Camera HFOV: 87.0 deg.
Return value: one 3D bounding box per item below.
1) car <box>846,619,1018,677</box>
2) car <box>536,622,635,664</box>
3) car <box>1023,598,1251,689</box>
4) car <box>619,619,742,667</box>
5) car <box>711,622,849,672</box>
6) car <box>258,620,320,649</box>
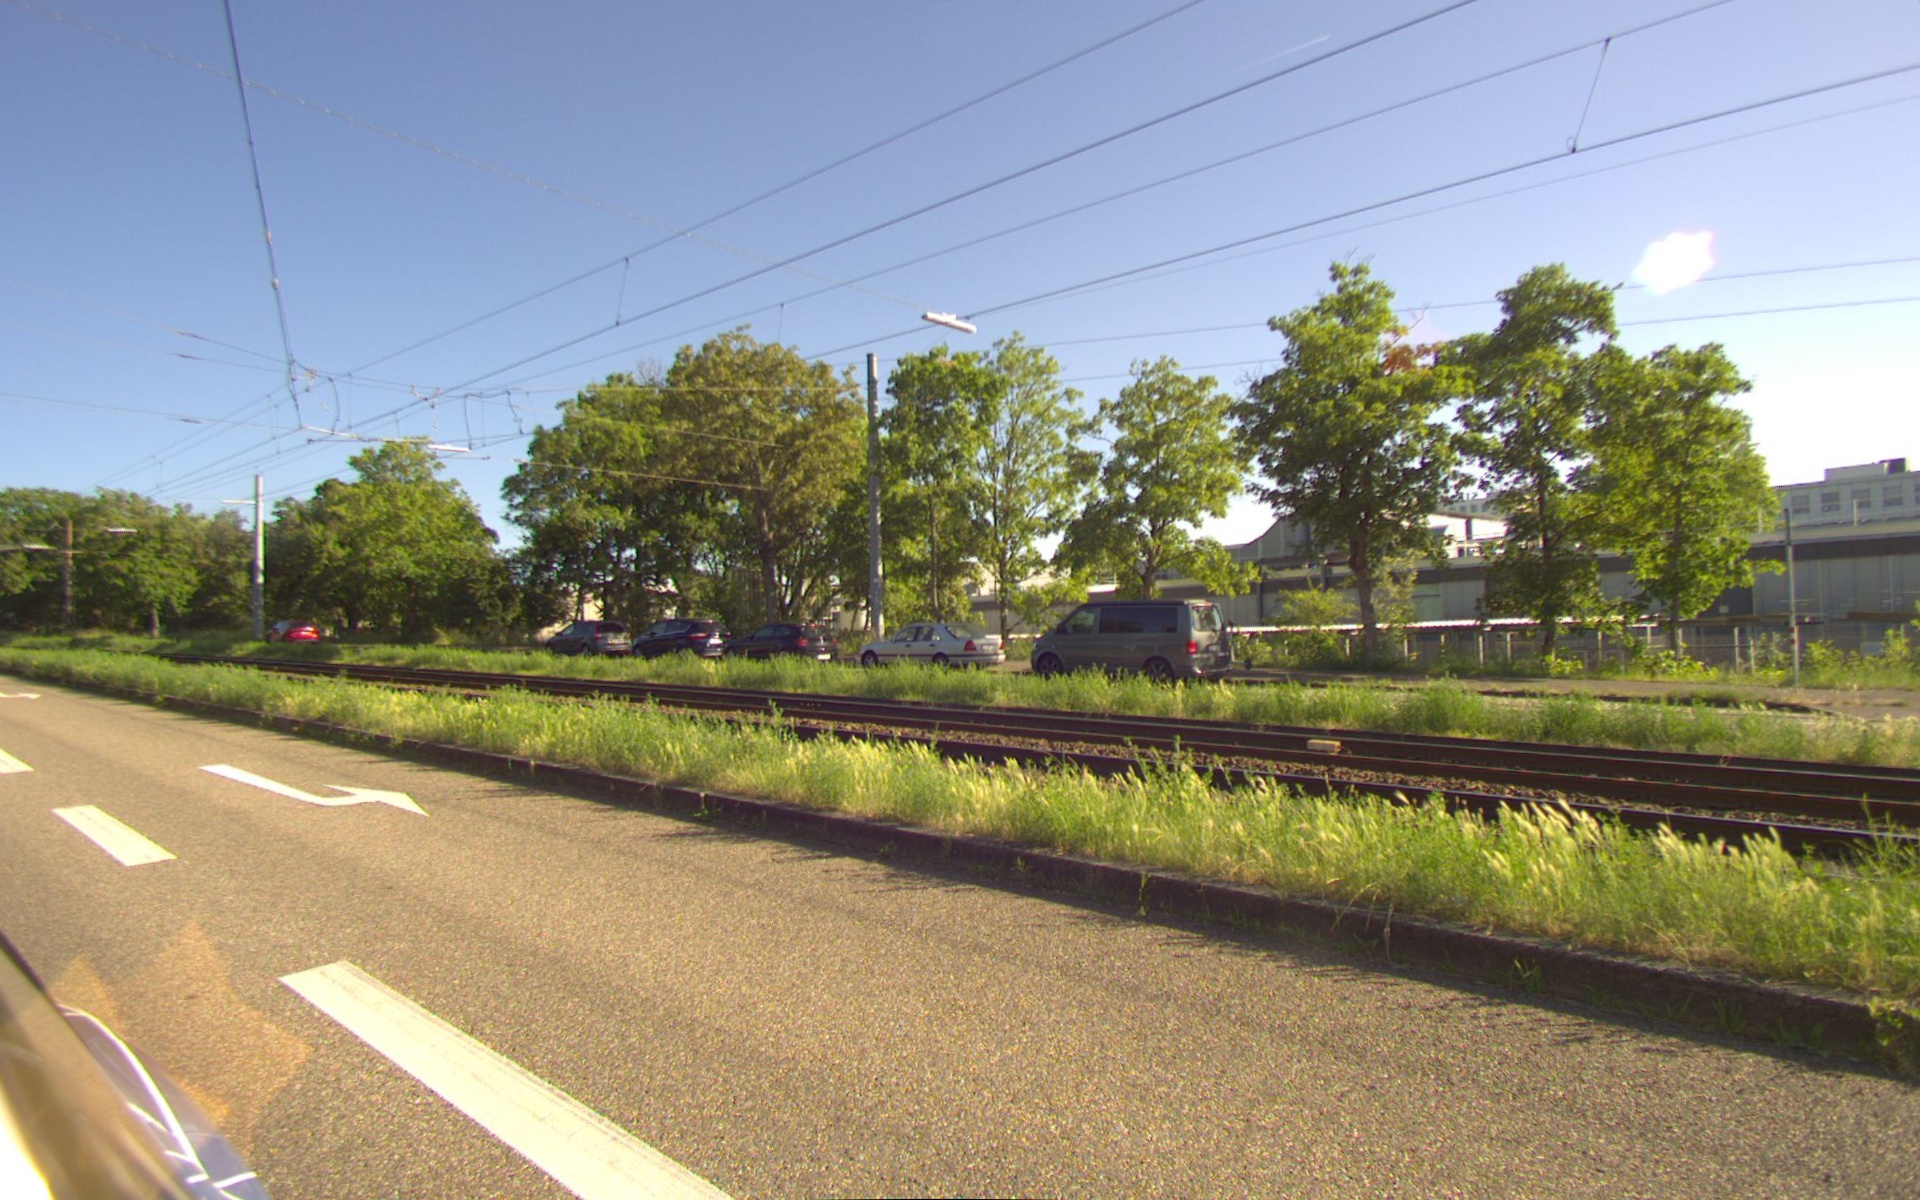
[{"bbox_3d":[-0.845,1.300,27.918,4.692,1.448,1.908,-2,-2,41],"label":"car"},{"bbox_3d":[-14.820,1.665,39.942,4.323,1.505,1.718,-1,0,39],"label":"car"},{"bbox_3d":[4.000,0.966,23.453,4.791,1.905,2.173,-2,-2,43],"label":"car"},{"bbox_3d":[-9.840,1.492,35.519,4.430,1.586,1.974,-2,-2,40],"label":"car"},{"bbox_3d":[-5.758,1.464,32.049,4.412,1.448,1.973,-2,-2,41],"label":"car"},{"bbox_3d":[-40.848,2.090,61.604,4.462,1.715,1.984,-2,-1,40],"label":"car"}]
